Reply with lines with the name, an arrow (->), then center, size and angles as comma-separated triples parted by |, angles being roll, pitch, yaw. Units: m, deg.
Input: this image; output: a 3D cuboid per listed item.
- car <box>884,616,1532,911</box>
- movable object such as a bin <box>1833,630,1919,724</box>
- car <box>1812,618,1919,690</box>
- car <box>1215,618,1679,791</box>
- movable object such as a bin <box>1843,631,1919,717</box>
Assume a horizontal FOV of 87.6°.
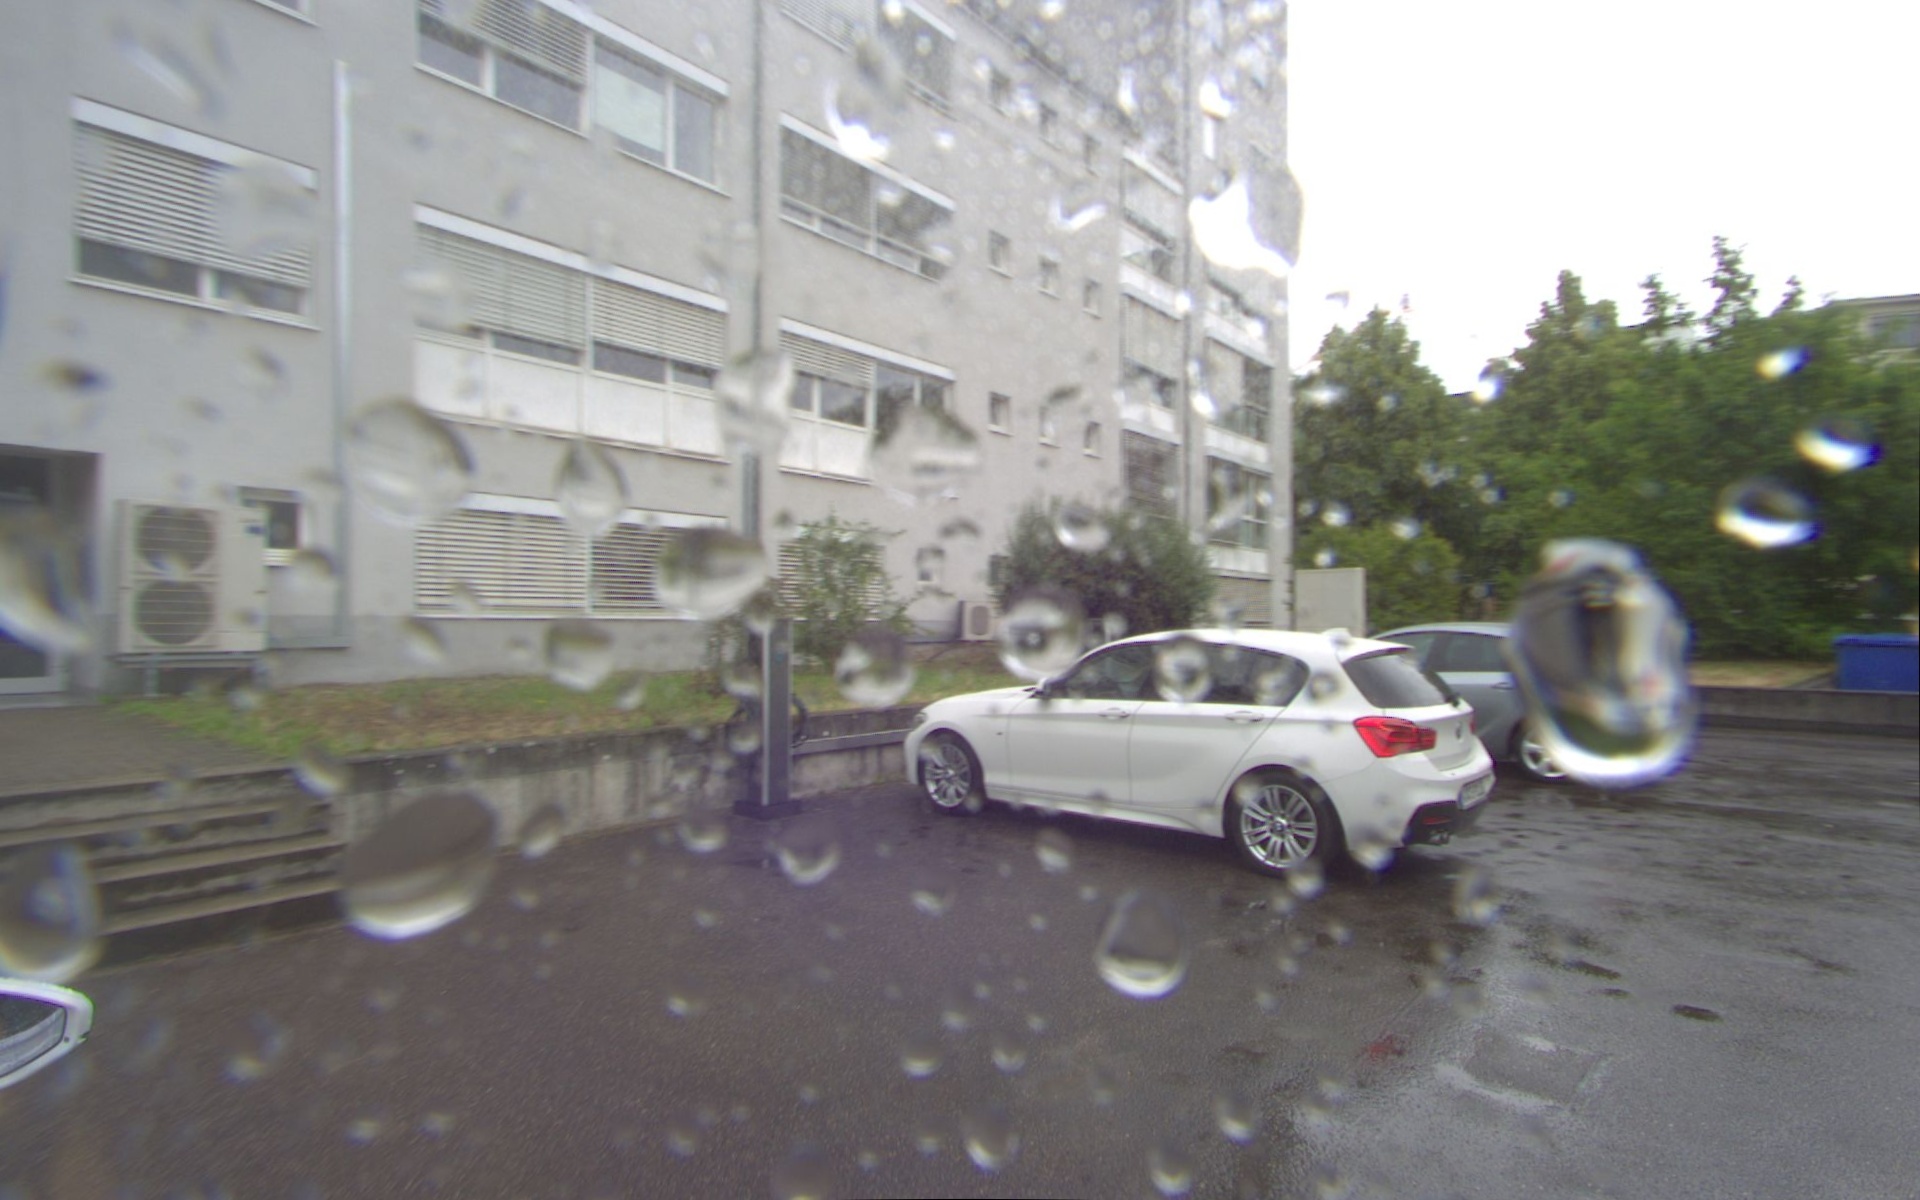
car -> 1.595, 0.907, 7.297 | 4.175, 1.508, 1.984 | -1, -2, 42
movable object such as a bin -> 14.484, 1.188, 15.576 | 1.953, 1.374, 1.221 | 4, -5, -45
car -> 26.396, 1.501, 27.236 | 2.103, 1.904, 4.657 | 5, -5, -42
car -> 5.140, 0.978, 10.886 | 4.175, 1.508, 1.984 | -1, -2, 42
movable object such as a bin -> 15.886, 1.251, 16.975 | 1.953, 1.374, 1.221 | 4, -5, -45
